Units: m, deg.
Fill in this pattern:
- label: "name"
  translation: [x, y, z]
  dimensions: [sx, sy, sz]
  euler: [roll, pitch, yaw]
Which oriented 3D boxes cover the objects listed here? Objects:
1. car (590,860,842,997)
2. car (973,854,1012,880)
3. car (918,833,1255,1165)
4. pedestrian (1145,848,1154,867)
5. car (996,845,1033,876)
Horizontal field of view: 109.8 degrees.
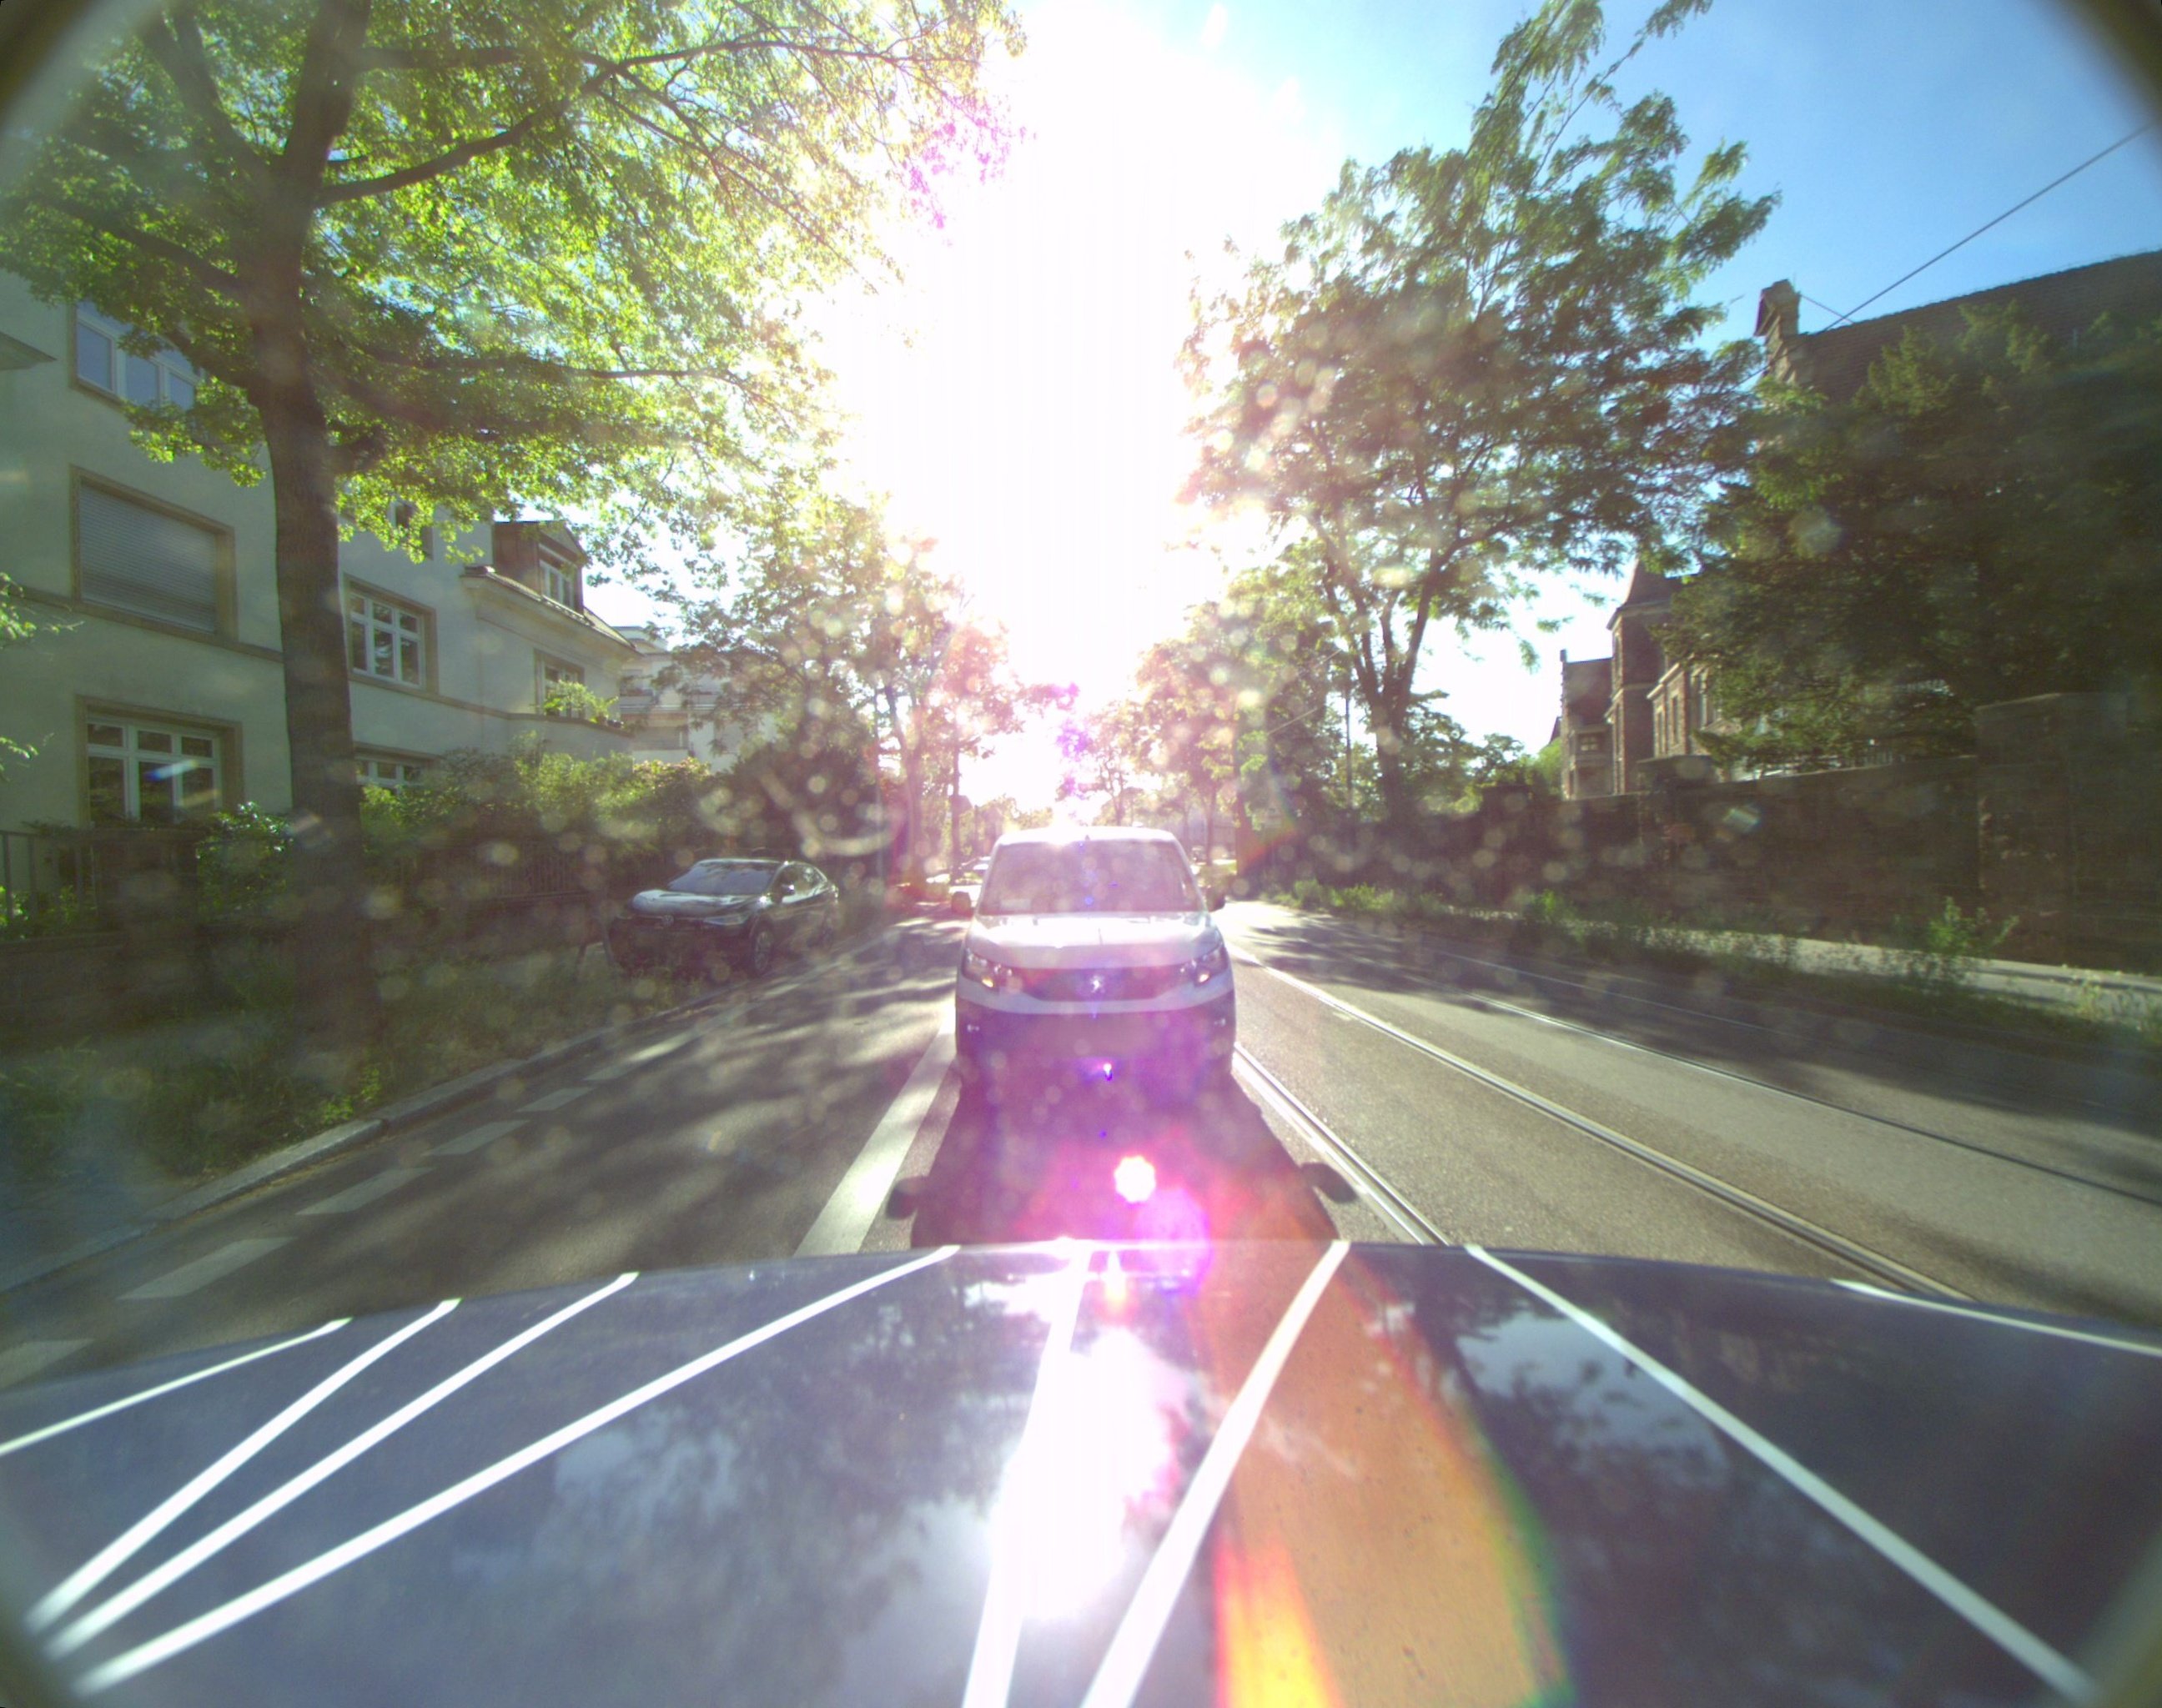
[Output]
- label: "car"
  translation: [-5.167, 0.943, 11.463]
  dimensions: [1.743, 1.597, 4.091]
  euler: [2, 0, 1]
- label: "car"
  translation: [-5.246, 0.750, 45.458]
  dimensions: [1.787, 1.443, 4.000]
  euler: [-2, 0, 1]
- label: "car"
  translation: [0.049, 0.784, 6.530]
  dimensions: [1.793, 1.770, 4.786]
  euler: [-2, 0, 0]
- label: "pedestrian"
  translation: [6.756, 0.343, 75.055]
  dimensions: [0.634, 1.796, 0.674]
  euler: [-1, 1, 23]
- label: "car"
  translation: [-4.494, 0.428, 51.924]
  dimensions: [1.998, 2.002, 4.583]
  euler: [-2, 0, 1]
